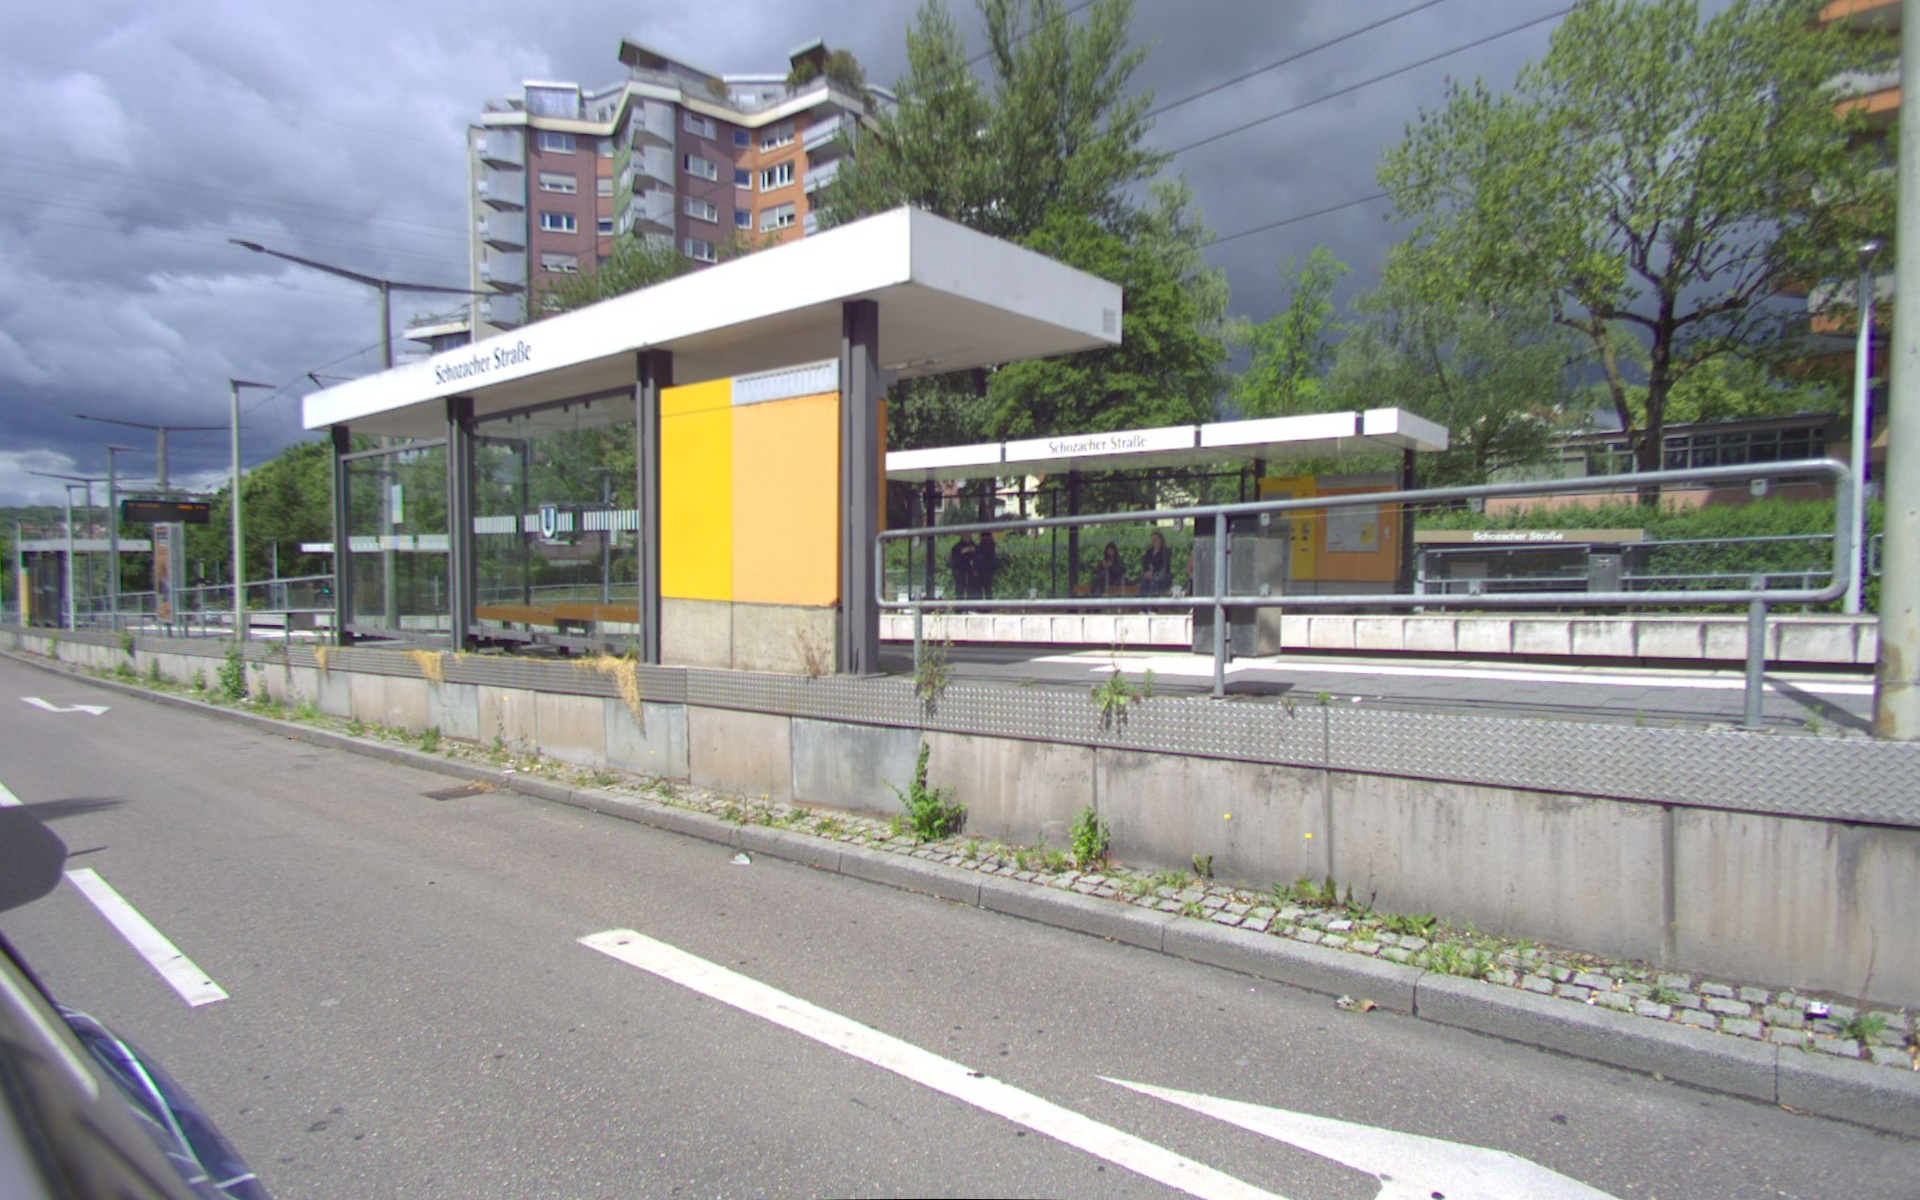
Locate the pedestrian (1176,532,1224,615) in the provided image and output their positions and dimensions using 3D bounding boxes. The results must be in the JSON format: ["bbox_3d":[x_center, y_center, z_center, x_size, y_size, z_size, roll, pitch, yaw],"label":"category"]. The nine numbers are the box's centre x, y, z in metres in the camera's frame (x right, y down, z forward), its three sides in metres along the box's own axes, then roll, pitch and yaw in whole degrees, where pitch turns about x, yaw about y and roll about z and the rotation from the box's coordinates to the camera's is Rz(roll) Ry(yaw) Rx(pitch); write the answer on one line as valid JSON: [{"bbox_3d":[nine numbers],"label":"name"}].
[{"bbox_3d":[3.827,-0.415,16.134,0.463,1.287,0.704,-1,0,40],"label":"pedestrian"}]

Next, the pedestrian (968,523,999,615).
[{"bbox_3d":[0.439,-0.581,19.234,0.544,1.726,0.386,-1,0,-2],"label":"pedestrian"}]

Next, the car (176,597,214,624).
[{"bbox_3d":[-60.464,0.840,79.996,4.000,2.029,1.714,-1,0,43],"label":"car"}]

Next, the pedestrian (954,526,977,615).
[{"bbox_3d":[0.109,-0.577,19.856,0.421,1.726,0.353,-1,0,-1],"label":"pedestrian"}]

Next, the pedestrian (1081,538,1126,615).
[{"bbox_3d":[2.487,-0.398,17.488,0.463,1.287,0.704,-1,0,40],"label":"pedestrian"}]

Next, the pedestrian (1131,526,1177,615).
[{"bbox_3d":[3.203,-0.477,16.687,0.463,1.428,0.704,-1,0,40],"label":"pedestrian"}]
